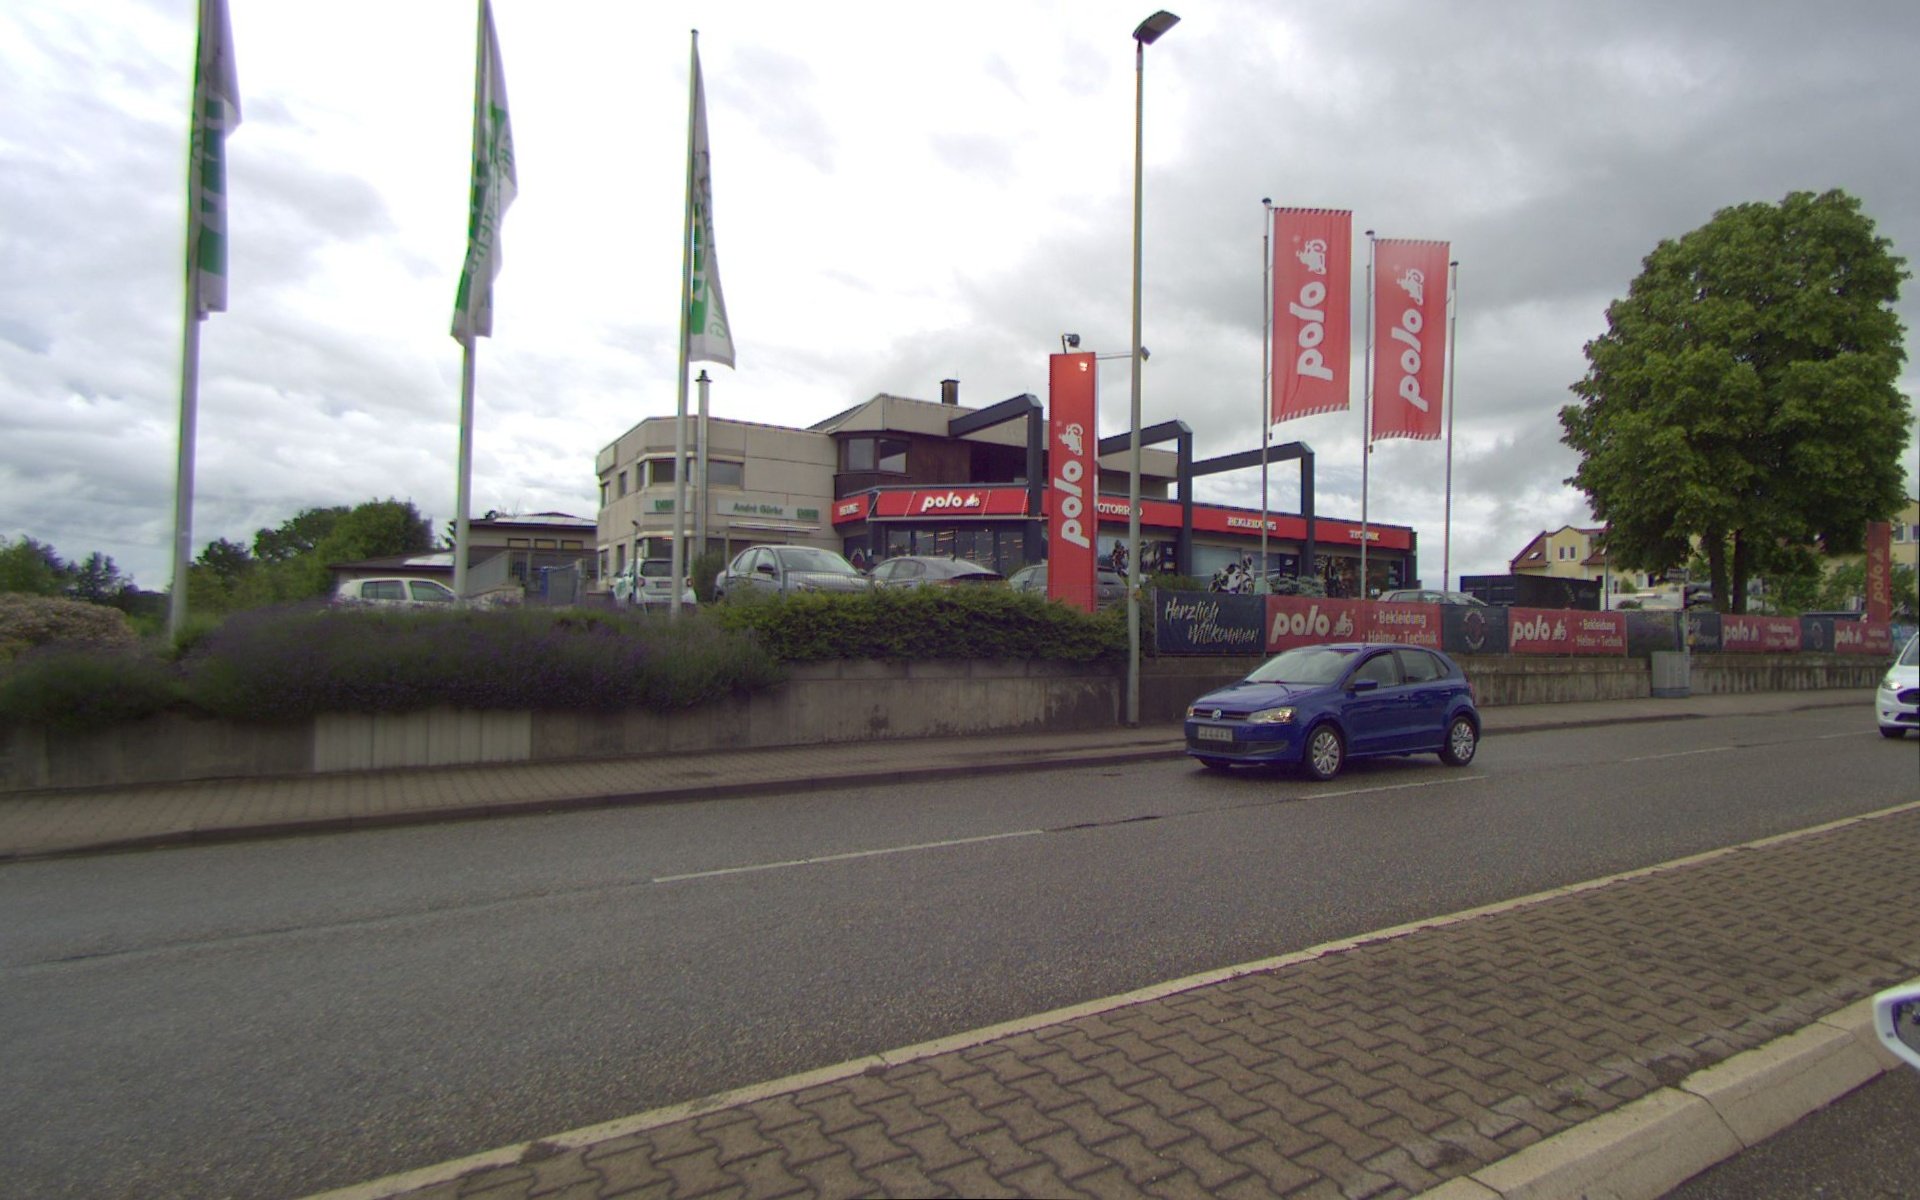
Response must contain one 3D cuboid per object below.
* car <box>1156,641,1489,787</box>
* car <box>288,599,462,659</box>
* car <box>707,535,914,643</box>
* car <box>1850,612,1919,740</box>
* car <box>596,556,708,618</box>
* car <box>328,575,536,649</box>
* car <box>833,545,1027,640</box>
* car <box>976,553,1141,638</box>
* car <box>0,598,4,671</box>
[{"bbox_3d":[4.215,1.203,11.568,3.722,1.400,1.626,1,-3,-31],"label":"car"},{"bbox_3d":[-15.969,0.805,27.502,4.013,1.532,1.664,1,-3,-35],"label":"car"},{"bbox_3d":[-2.490,-0.098,16.016,1.725,1.502,3.800,1,-2,-36],"label":"car"},{"bbox_3d":[15.941,1.157,15.648,4.528,1.847,1.848,2,-4,-32],"label":"car"},{"bbox_3d":[-8.317,-0.287,26.932,1.855,1.502,3.803,1,-2,-34],"label":"car"},{"bbox_3d":[-11.652,0.315,22.334,3.955,1.532,1.667,1,-3,-30],"label":"car"},{"bbox_3d":[-0.621,-0.070,17.844,1.725,1.502,3.622,1,-2,-36],"label":"car"},{"bbox_3d":[1.848,-0.027,19.785,1.564,1.529,3.399,1,-2,-30],"label":"car"},{"bbox_3d":[-22.326,0.742,21.738,3.941,1.532,1.867,-1,-2,39],"label":"car"}]
